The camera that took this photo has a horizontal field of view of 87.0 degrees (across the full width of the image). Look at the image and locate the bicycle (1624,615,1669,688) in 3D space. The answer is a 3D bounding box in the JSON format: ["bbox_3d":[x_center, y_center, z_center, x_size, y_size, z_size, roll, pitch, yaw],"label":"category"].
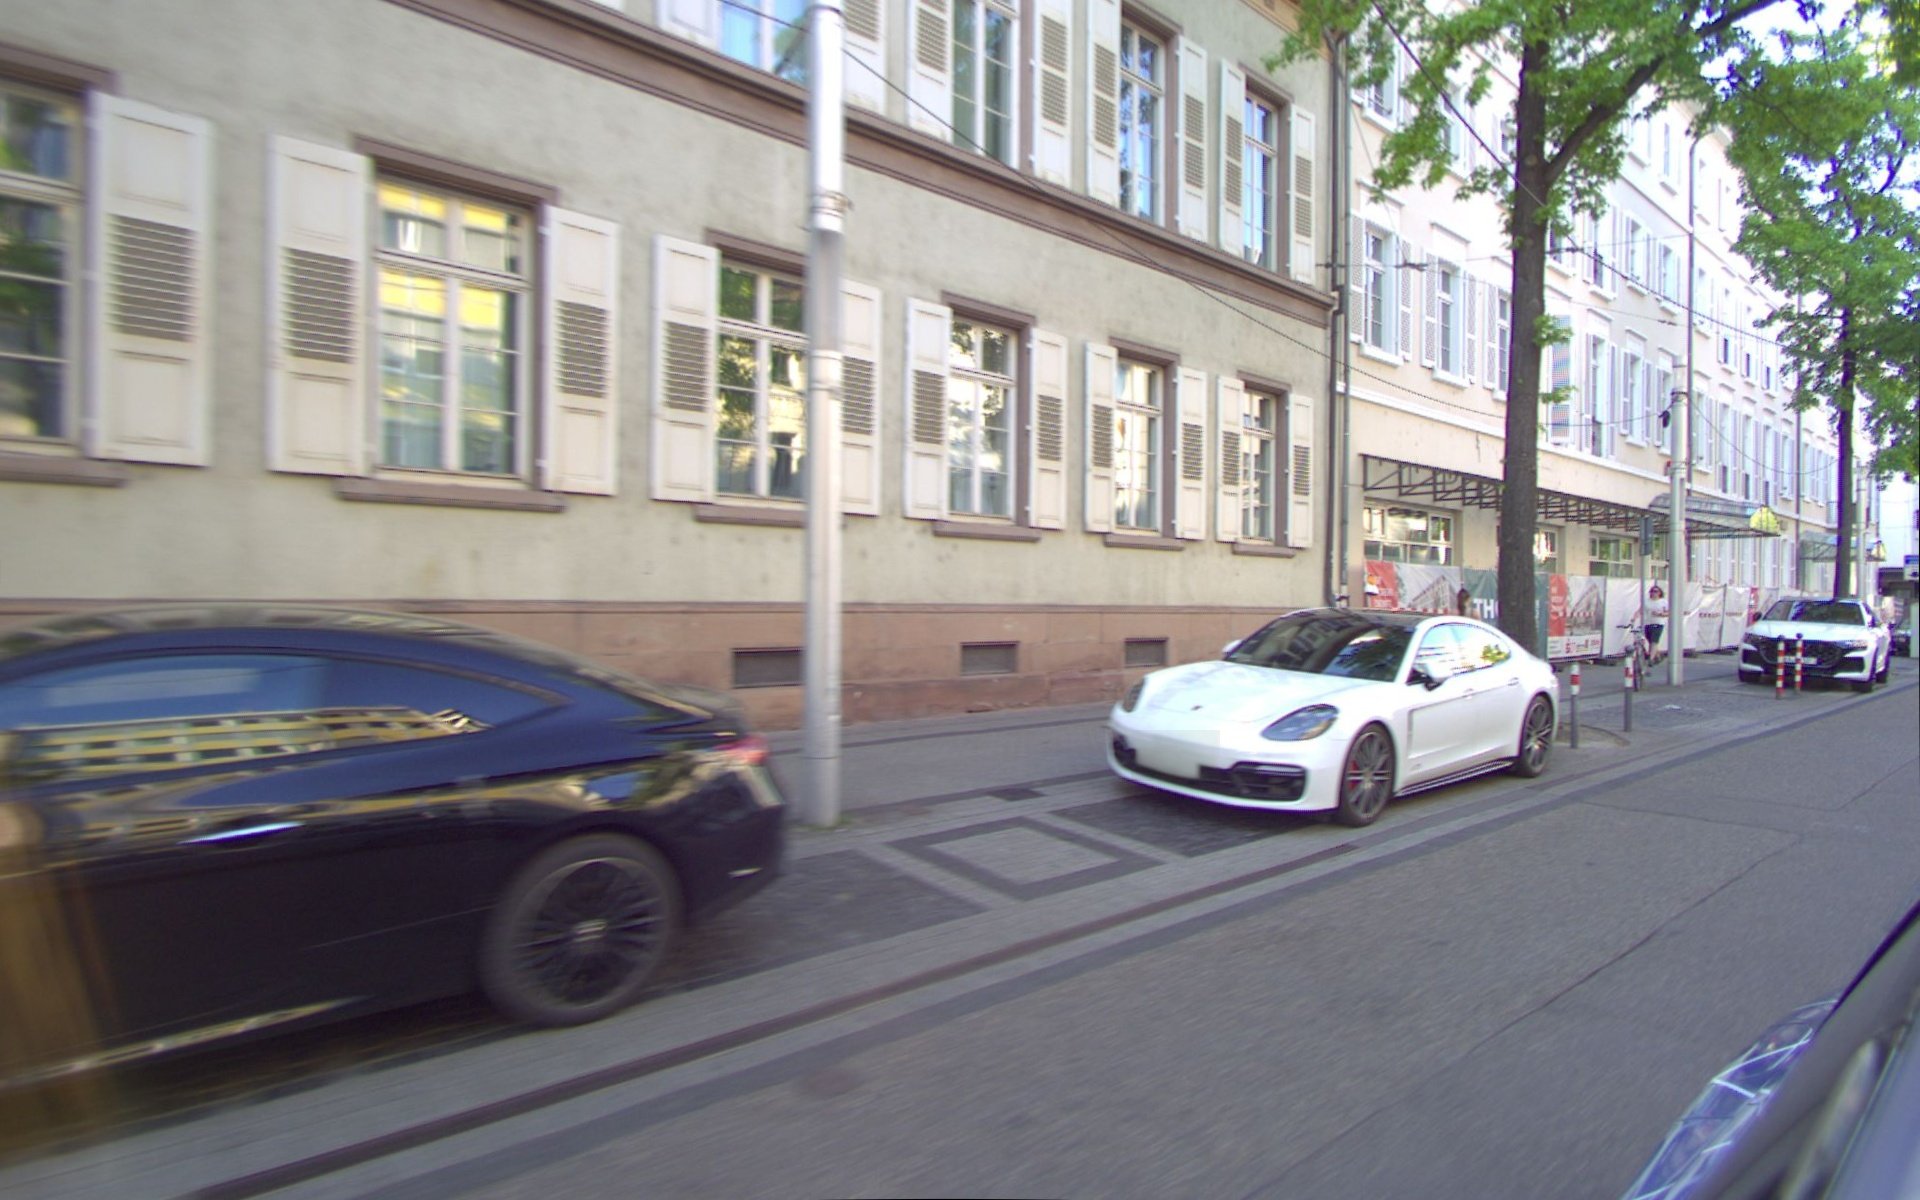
[{"bbox_3d":[11.693,0.842,17.217,0.417,1.114,1.959,2,2,40],"label":"bicycle"}]

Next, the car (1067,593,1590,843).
[{"bbox_3d":[3.284,0.731,8.473,4.800,1.438,1.917,0,3,-40],"label":"car"}]

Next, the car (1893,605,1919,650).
[{"bbox_3d":[31.185,0.870,32.075,4.252,1.327,1.798,0,2,-40],"label":"car"}]

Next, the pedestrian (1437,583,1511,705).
[{"bbox_3d":[7.009,0.574,13.798,0.784,1.593,0.650,1,0,-40],"label":"pedestrian"}]

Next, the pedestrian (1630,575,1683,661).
[{"bbox_3d":[15.958,0.393,23.188,1.034,1.910,0.714,1,1,-40],"label":"pedestrian"}]

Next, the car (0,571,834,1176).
[{"bbox_3d":[-2.900,0.681,3.379,4.678,1.496,1.837,0,2,-41],"label":"car"}]

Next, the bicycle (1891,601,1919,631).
[{"bbox_3d":[35.421,0.588,37.755,0.650,1.084,1.656,3,1,31],"label":"bicycle"}]

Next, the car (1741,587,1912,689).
[{"bbox_3d":[17.199,0.634,19.987,4.884,1.708,2.000,0,3,-43],"label":"car"}]
